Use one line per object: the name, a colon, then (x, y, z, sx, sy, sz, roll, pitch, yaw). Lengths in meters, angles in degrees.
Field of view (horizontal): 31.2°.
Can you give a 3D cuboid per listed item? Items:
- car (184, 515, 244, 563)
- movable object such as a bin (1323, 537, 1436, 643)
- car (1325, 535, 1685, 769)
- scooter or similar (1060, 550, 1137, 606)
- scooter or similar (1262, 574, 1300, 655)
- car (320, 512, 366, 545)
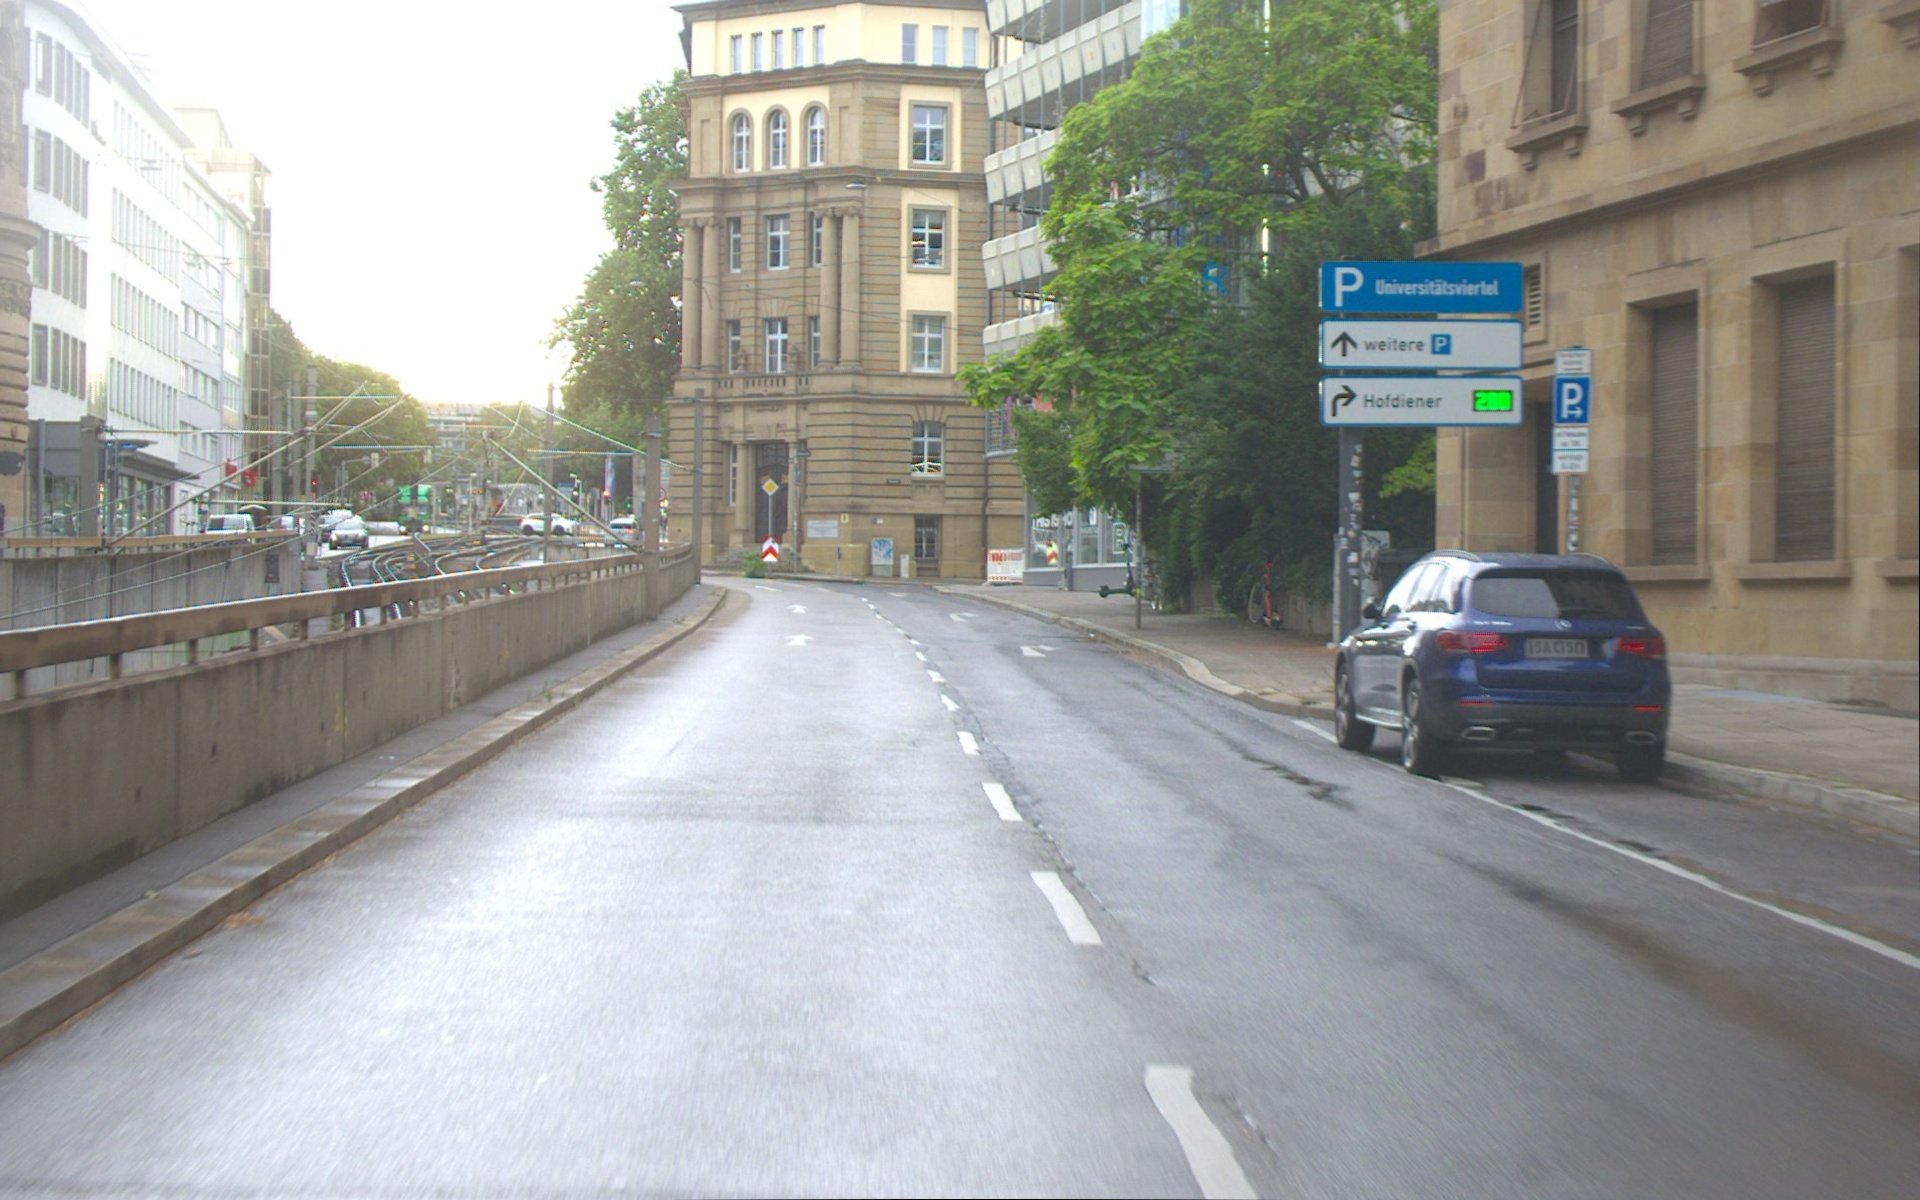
car: (-31.021, -2.560, 142.984, 1.993, 1.876, 4.928, 2, 1, -8)
movable object such as a bin: (5.343, -0.138, 43.858, 1.239, 1.305, 1.234, -1, 1, -1)
car: (4.068, 0.348, 26.321, 1.768, 1.614, 4.158, 1, 0, -4)
scooter or similar: (3.257, -0.527, 80.797, 1.635, 1.263, 0.743, -1, 2, -27)
scooter or similar: (5.121, 0.221, 54.901, 0.447, 1.255, 1.211, -1, 1, -2)
car: (-30.074, -3.480, 167.712, 1.993, 1.522, 3.664, 2, 1, -8)
